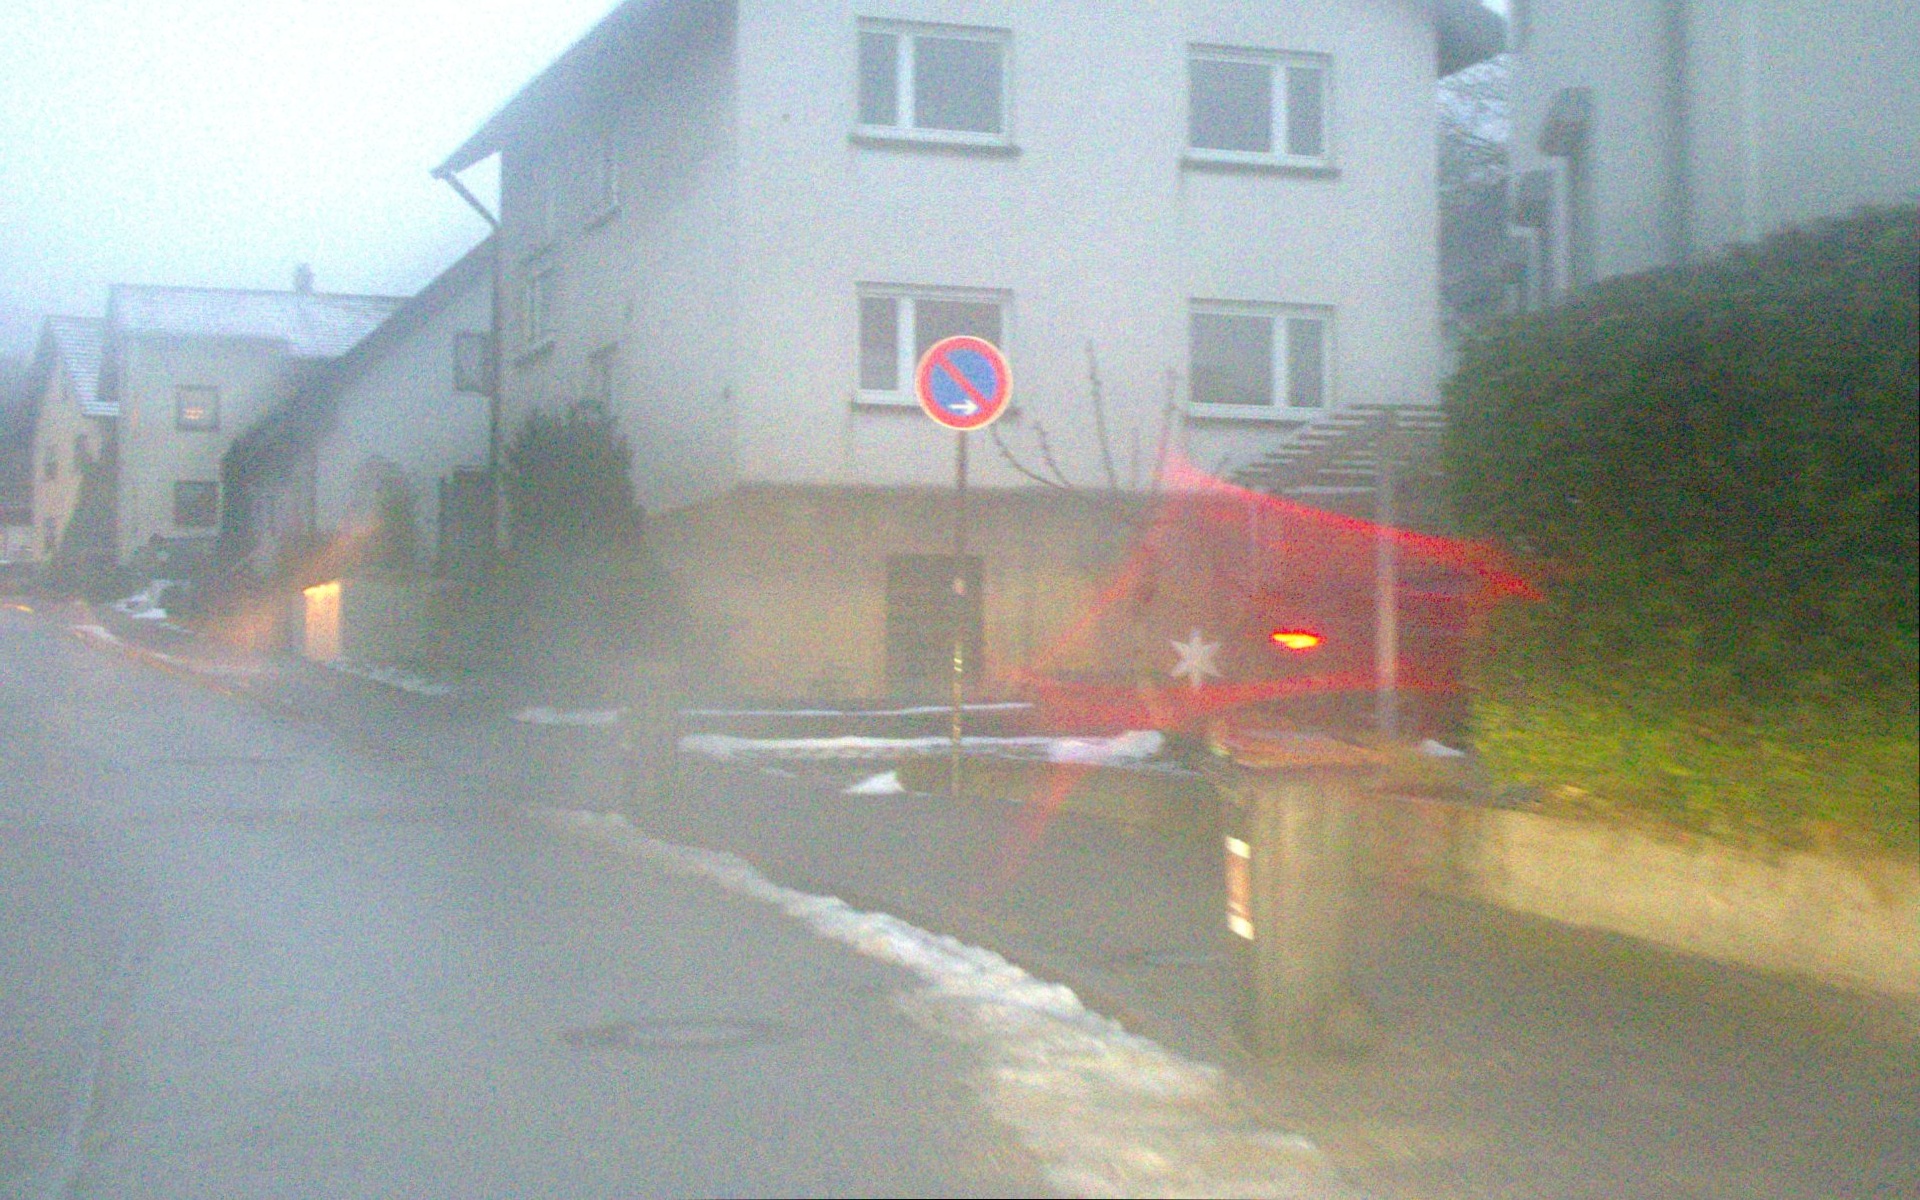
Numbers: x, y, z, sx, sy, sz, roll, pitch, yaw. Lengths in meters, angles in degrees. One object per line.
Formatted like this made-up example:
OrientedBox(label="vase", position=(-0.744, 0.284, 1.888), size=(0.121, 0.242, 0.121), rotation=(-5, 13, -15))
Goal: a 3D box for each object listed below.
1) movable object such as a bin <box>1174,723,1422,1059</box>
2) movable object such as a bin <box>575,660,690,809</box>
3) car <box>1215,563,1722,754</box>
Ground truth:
OrientedBox(label="movable object such as a bin", position=(0.995, 0.851, 10.230), size=(0.537, 0.935, 0.689), rotation=(1, 0, -11))
OrientedBox(label="movable object such as a bin", position=(-2.094, 0.852, 21.937), size=(0.637, 0.914, 0.686), rotation=(1, 0, -12))
OrientedBox(label="car", position=(4.463, 0.486, 30.458), size=(3.986, 1.612, 2.001), rotation=(0, 0, -12))
